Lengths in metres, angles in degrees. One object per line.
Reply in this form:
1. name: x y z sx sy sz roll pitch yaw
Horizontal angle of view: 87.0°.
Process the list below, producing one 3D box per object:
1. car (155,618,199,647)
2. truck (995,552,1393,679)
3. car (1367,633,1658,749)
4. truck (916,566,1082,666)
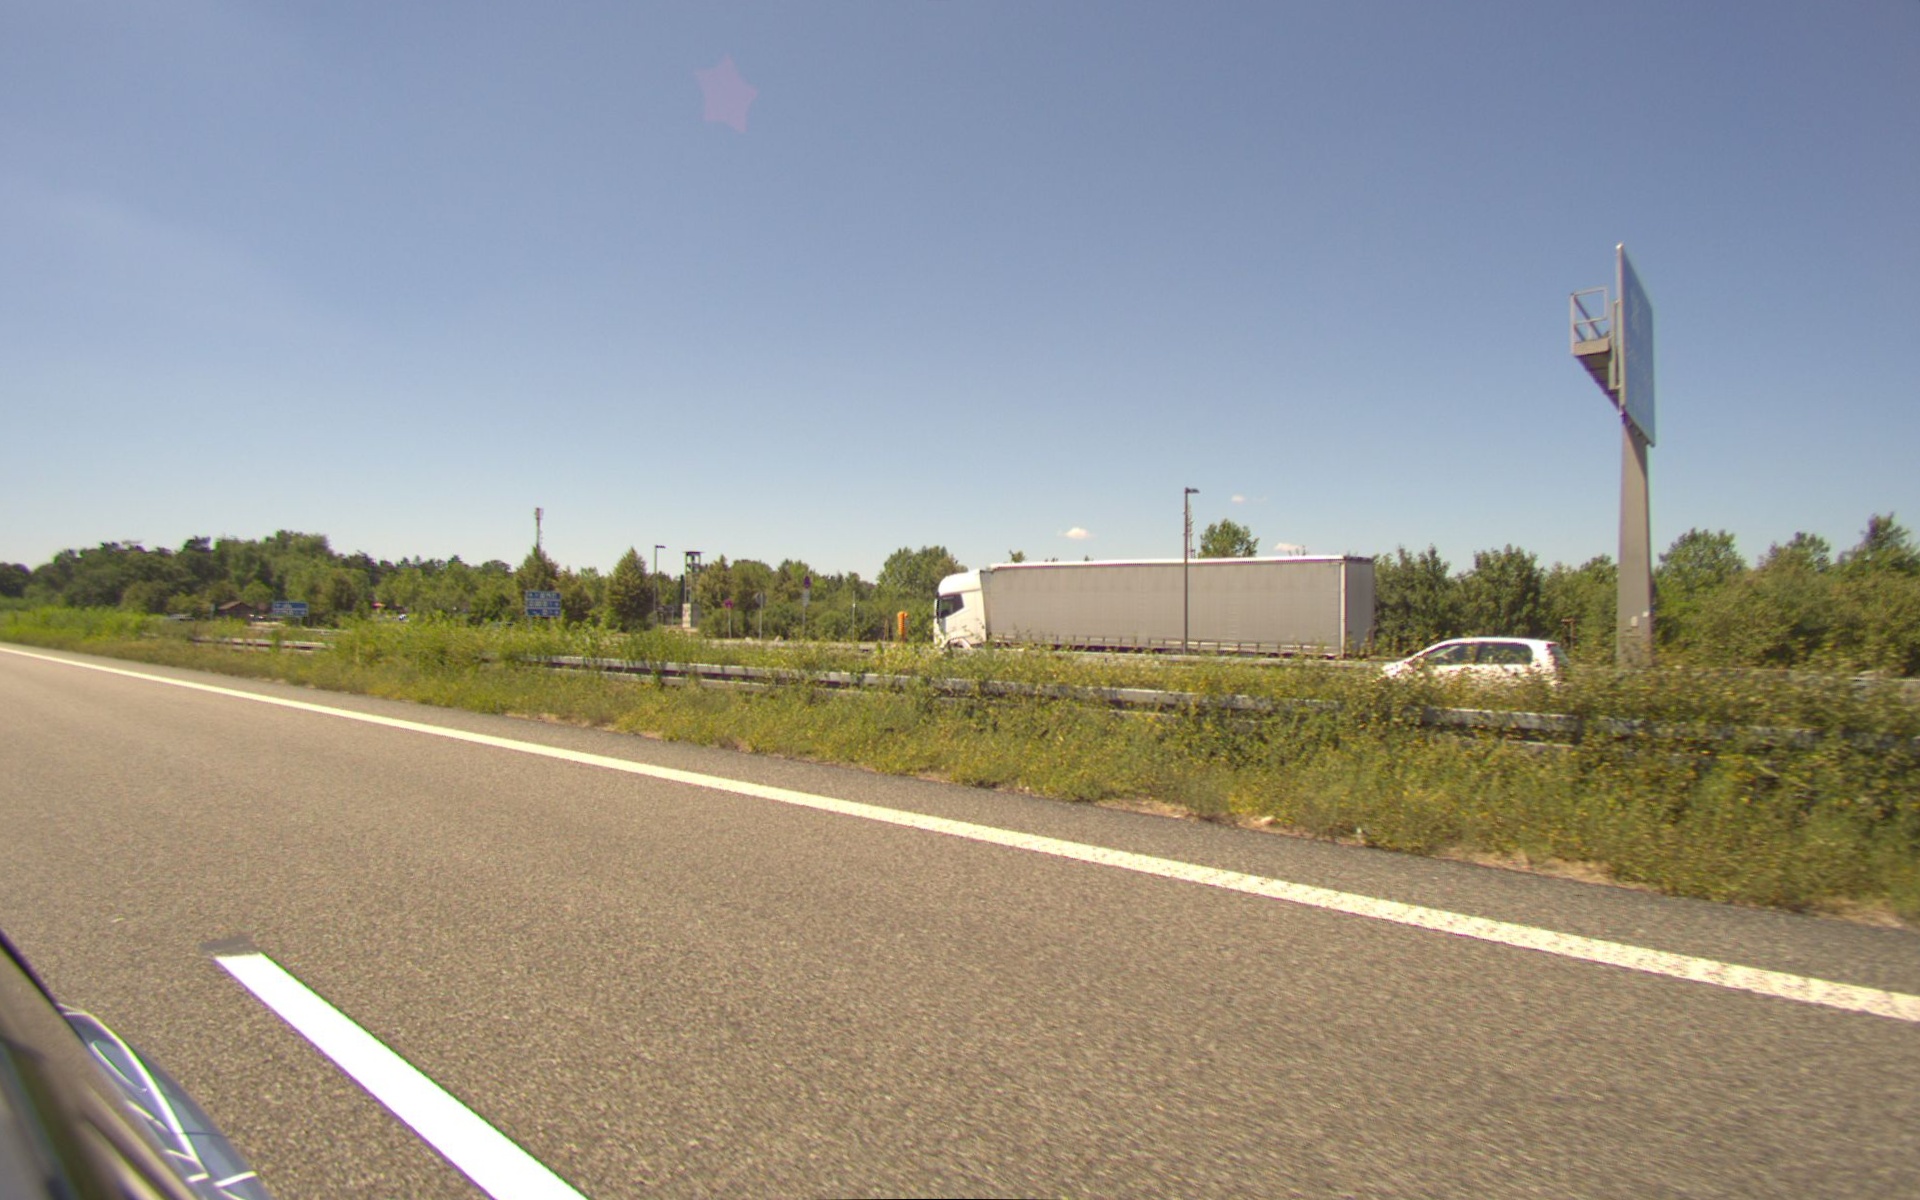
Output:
1. car: -53.086 2.172 68.597 3.799 1.818 1.635 -1 0 41
2. truck: 7.364 0.495 34.755 13.600 3.671 2.770 -1 0 41
3. car: 9.963 1.546 18.474 4.406 1.760 1.633 -1 0 41
4. truck: 1.454 0.594 39.958 6.144 3.671 2.770 -1 0 41
